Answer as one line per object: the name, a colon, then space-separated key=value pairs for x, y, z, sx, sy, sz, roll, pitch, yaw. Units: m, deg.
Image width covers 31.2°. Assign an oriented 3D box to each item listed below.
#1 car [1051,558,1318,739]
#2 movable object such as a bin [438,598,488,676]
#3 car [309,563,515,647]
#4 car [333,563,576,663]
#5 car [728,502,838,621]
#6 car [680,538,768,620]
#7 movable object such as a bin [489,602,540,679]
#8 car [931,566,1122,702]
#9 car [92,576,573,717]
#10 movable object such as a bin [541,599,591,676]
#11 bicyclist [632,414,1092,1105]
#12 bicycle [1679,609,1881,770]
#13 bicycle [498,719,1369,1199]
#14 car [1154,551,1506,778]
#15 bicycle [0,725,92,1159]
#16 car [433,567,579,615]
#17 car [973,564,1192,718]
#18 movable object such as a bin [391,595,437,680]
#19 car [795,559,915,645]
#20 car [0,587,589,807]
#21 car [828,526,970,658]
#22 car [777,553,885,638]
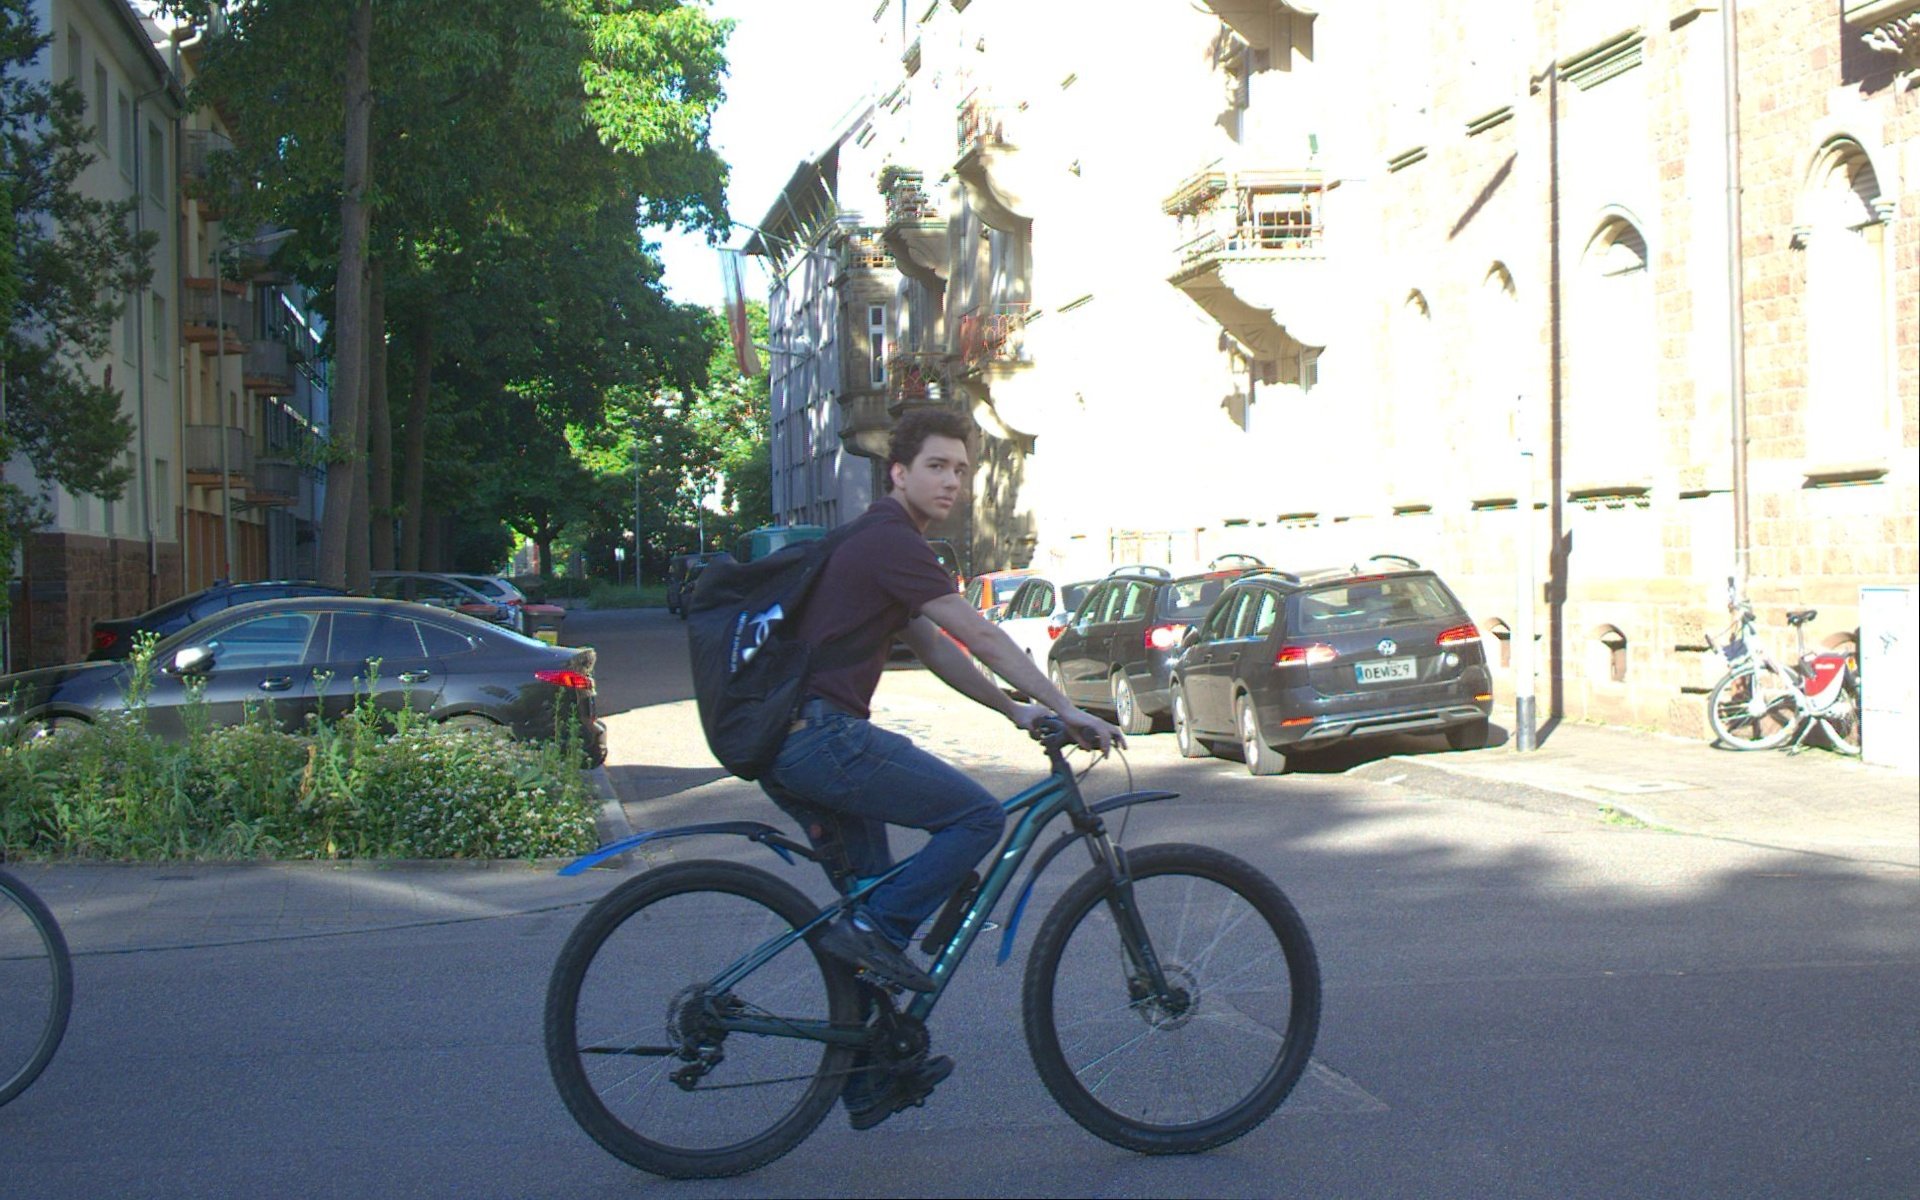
car: x=2.015 y=0.409 z=31.979 sx=1.737 sy=1.576 sz=4.001 roll=0 pitch=0 yaw=-7
movable object such as a bin: x=-6.818 y=0.505 z=47.142 sx=0.629 sy=1.049 sz=0.568 roll=0 pitch=0 yaw=-13
car: x=-10.370 y=0.091 z=65.062 sx=3.800 sy=1.570 sz=1.710 roll=0 pitch=0 yaw=-9
car: x=-8.156 y=0.203 z=55.325 sx=3.800 sy=1.570 sz=1.710 roll=0 pitch=0 yaw=-11
car: x=-4.138 y=-0.879 z=79.530 sx=2.165 sy=2.681 sz=4.792 roll=0 pitch=0 yaw=-7
car: x=-6.665 y=-0.589 z=96.500 sx=2.165 sy=2.229 sz=4.792 roll=0 pitch=0 yaw=-7
movable object such as a bin: x=-6.134 y=0.553 z=47.326 sx=0.629 sy=1.049 sz=0.568 roll=0 pitch=0 yaw=-13
car: x=0.757 y=0.379 z=41.774 sx=1.737 sy=1.576 sz=4.001 roll=0 pitch=0 yaw=-7
car: x=-6.514 y=0.469 z=35.938 sx=4.833 sy=1.430 sz=1.710 roll=0 pitch=0 yaw=-9
movable object such as a bin: x=-5.438 y=0.512 z=47.441 sx=0.629 sy=1.049 sz=0.568 roll=0 pitch=0 yaw=-13
bicyclist: x=-0.246 y=0.349 z=7.998 sx=0.968 sy=1.521 sz=0.721 roll=0 pitch=0 yaw=-10
bicycle: x=5.343 y=0.566 z=22.484 sx=0.514 sy=0.994 sz=1.576 roll=0 pitch=0 yaw=-19
bicycle: x=-0.078 y=0.840 z=8.042 sx=1.962 sy=1.069 sz=0.557 roll=0 pitch=3 yaw=-10
car: x=2.692 y=0.433 z=25.894 sx=1.737 sy=1.576 sz=4.001 roll=0 pitch=0 yaw=-7
bicycle: x=-3.252 y=0.879 z=8.852 sx=1.961 sy=1.069 sz=0.698 roll=0 pitch=0 yaw=-15
car: x=-12.054 y=-0.238 z=91.169 sx=3.800 sy=1.236 sz=1.710 roll=0 pitch=0 yaw=-9
car: x=1.268 y=0.411 z=37.341 sx=1.737 sy=1.576 sz=4.001 roll=0 pitch=0 yaw=-7
movable object such as a bin: x=-7.474 y=0.508 z=47.054 sx=0.598 sy=1.149 sz=0.487 roll=0 pitch=0 yaw=-13
car: x=-1.944 y=0.017 z=62.562 sx=1.802 sy=1.509 sz=4.001 roll=0 pitch=0 yaw=-7
car: x=-4.737 y=0.632 z=23.684 sx=4.242 sy=1.430 sz=2.000 roll=0 pitch=0 yaw=-9
car: x=-1.010 y=-0.133 z=54.385 sx=1.802 sy=1.997 sz=4.001 roll=0 pitch=0 yaw=-7
car: x=-2.634 y=-0.107 z=69.495 sx=1.802 sy=1.673 sz=4.001 roll=0 pitch=0 yaw=-7
